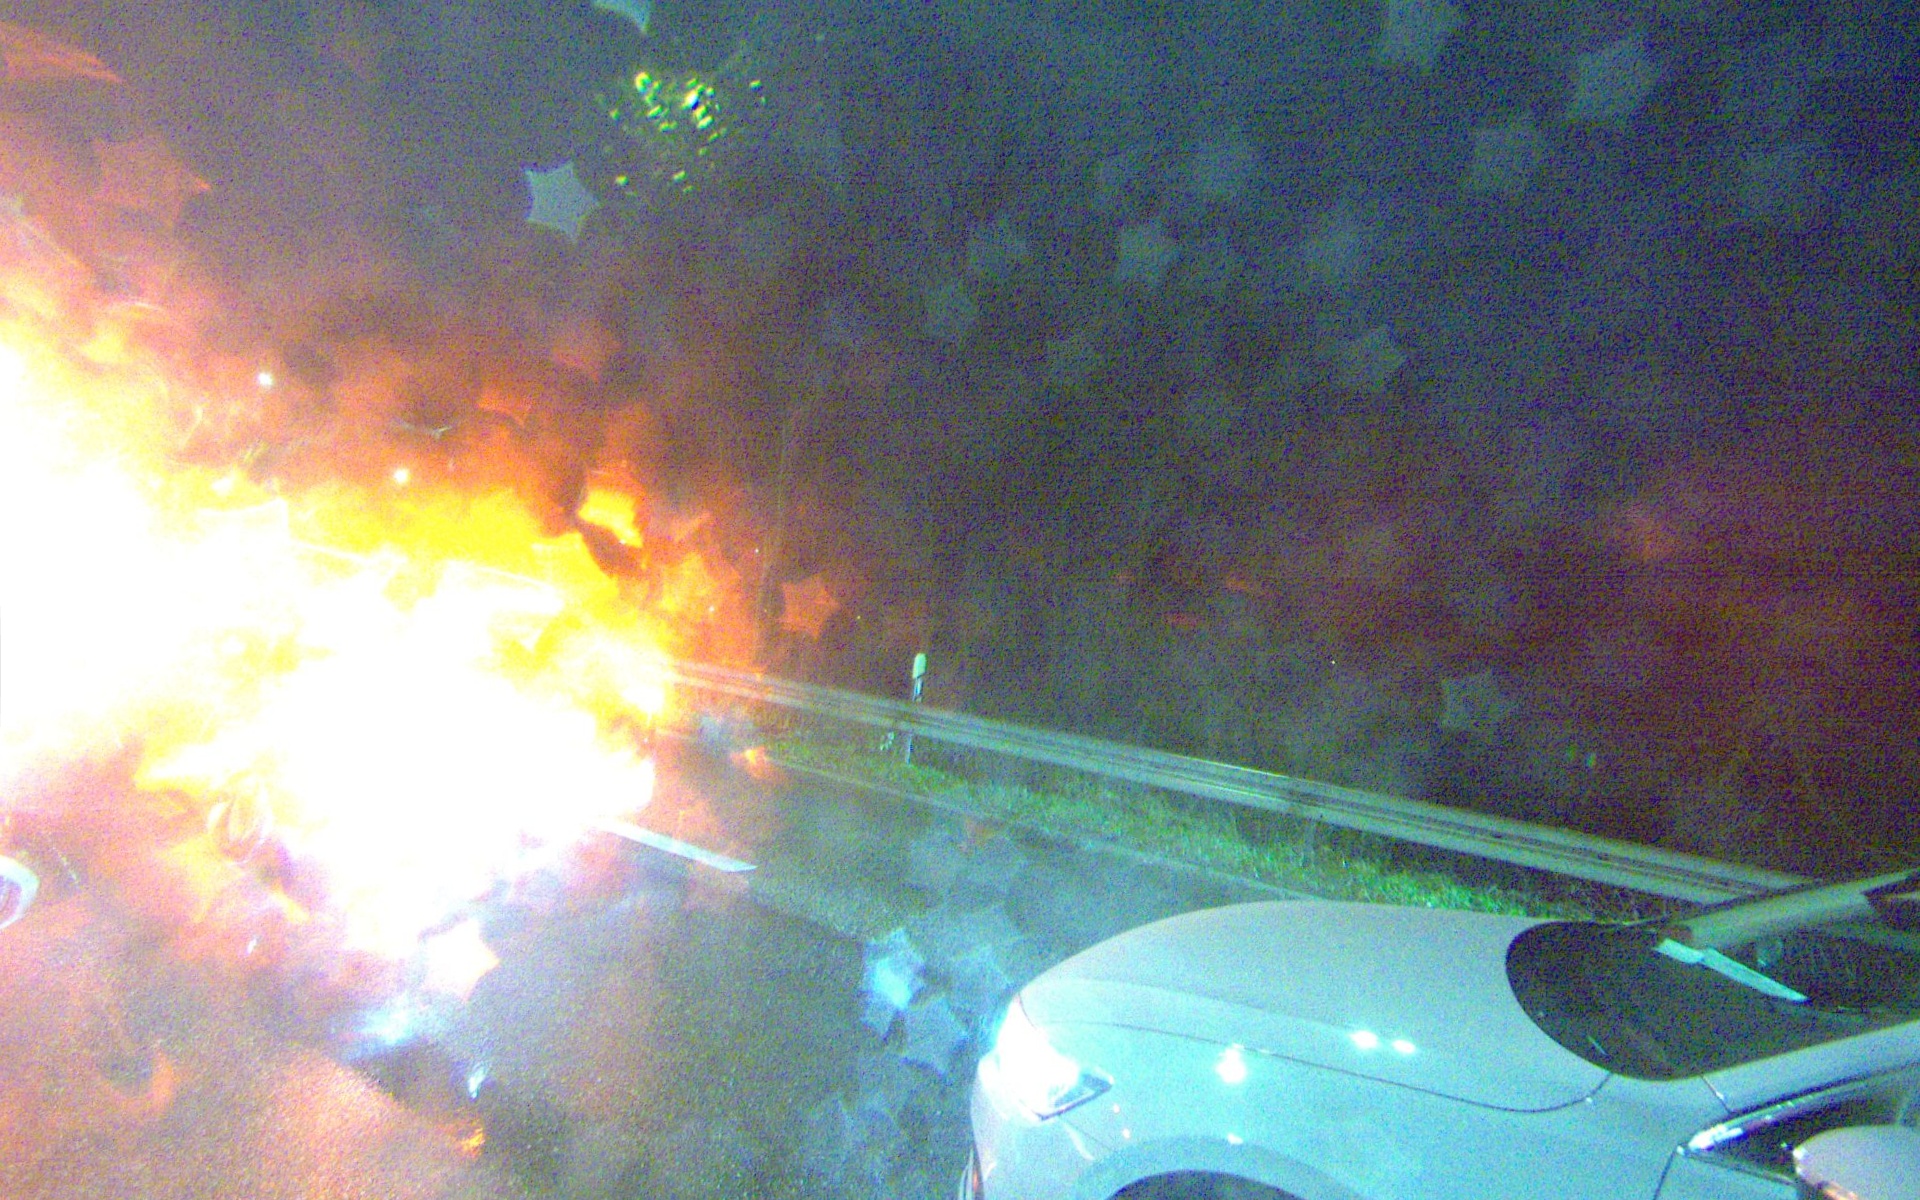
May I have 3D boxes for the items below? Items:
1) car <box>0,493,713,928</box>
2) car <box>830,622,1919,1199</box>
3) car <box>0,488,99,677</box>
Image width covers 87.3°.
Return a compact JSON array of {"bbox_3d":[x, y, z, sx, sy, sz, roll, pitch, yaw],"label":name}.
[{"bbox_3d":[-3.722,0.399,5.746,4.484,1.522,1.677,6,-3,32],"label":"car"},{"bbox_3d":[2.050,1.091,1.594,4.342,1.539,1.710,6,-2,32],"label":"car"},{"bbox_3d":[-9.702,-0.357,8.998,3.892,1.539,1.681,6,-2,29],"label":"car"}]
